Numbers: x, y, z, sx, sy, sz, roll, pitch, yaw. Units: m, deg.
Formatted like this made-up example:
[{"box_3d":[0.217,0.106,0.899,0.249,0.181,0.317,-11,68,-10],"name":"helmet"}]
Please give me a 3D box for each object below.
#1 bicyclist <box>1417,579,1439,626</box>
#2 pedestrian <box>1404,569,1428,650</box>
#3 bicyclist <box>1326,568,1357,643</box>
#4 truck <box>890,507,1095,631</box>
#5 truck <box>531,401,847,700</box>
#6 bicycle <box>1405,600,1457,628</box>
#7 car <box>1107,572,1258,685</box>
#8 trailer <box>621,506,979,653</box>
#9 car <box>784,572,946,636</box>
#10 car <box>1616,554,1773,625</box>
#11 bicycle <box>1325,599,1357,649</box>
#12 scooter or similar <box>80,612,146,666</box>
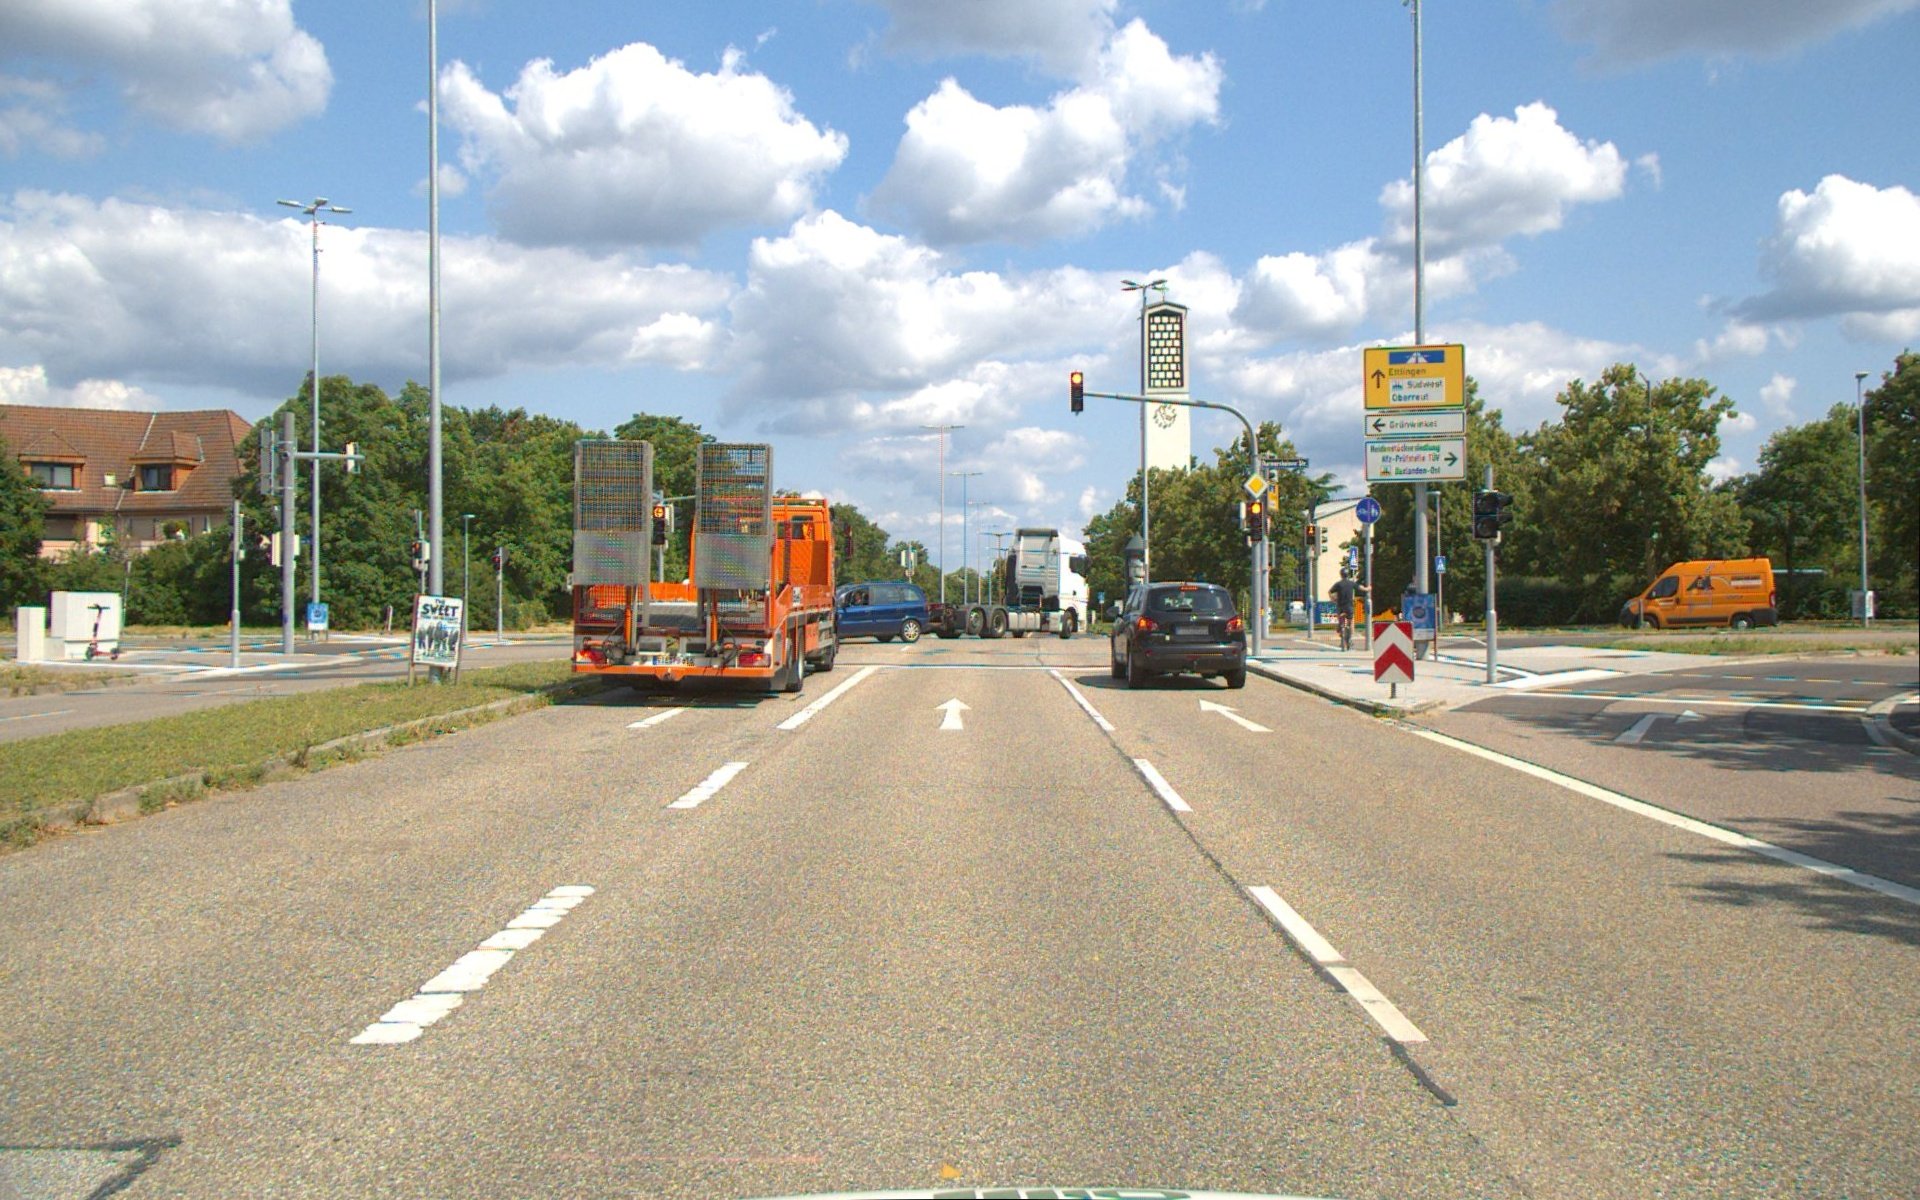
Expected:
[{"box_3d":[18.581,0.108,65.664,0.770,1.836,0.686,0,-1,18],"name":"bicyclist"},{"box_3d":[10.375,0.215,37.632,0.454,1.810,0.482,1,-1,11],"name":"pedestrian"},{"box_3d":[8.787,0.137,38.121,0.634,1.690,0.650,1,-1,15],"name":"bicyclist"},{"box_3d":[1.299,-1.054,58.422,2.909,4.040,8.607,1,1,35],"name":"truck"},{"box_3d":[-3.597,-0.525,25.224,3.008,3.474,11.066,2,-1,-1],"name":"truck"},{"box_3d":[18.674,0.558,65.632,1.955,1.113,0.686,0,-1,19],"name":"bicycle"},{"box_3d":[3.402,0.438,25.940,1.763,1.579,3.999,2,-1,-1],"name":"car"},{"box_3d":[-4.697,-0.611,51.227,11.222,4.082,3.577,0,0,-42],"name":"trailer"},{"box_3d":[-2.577,0.120,45.349,4.171,1.601,1.830,2,-1,-39],"name":"car"},{"box_3d":[24.871,-0.344,56.087,4.747,2.265,2.210,1,-1,24],"name":"car"},{"box_3d":[8.826,0.559,38.303,0.634,1.127,1.929,1,-1,15],"name":"bicycle"},{"box_3d":[-19.263,0.872,37.660,0.577,1.184,1.761,1,-1,-1],"name":"scooter or similar"}]
